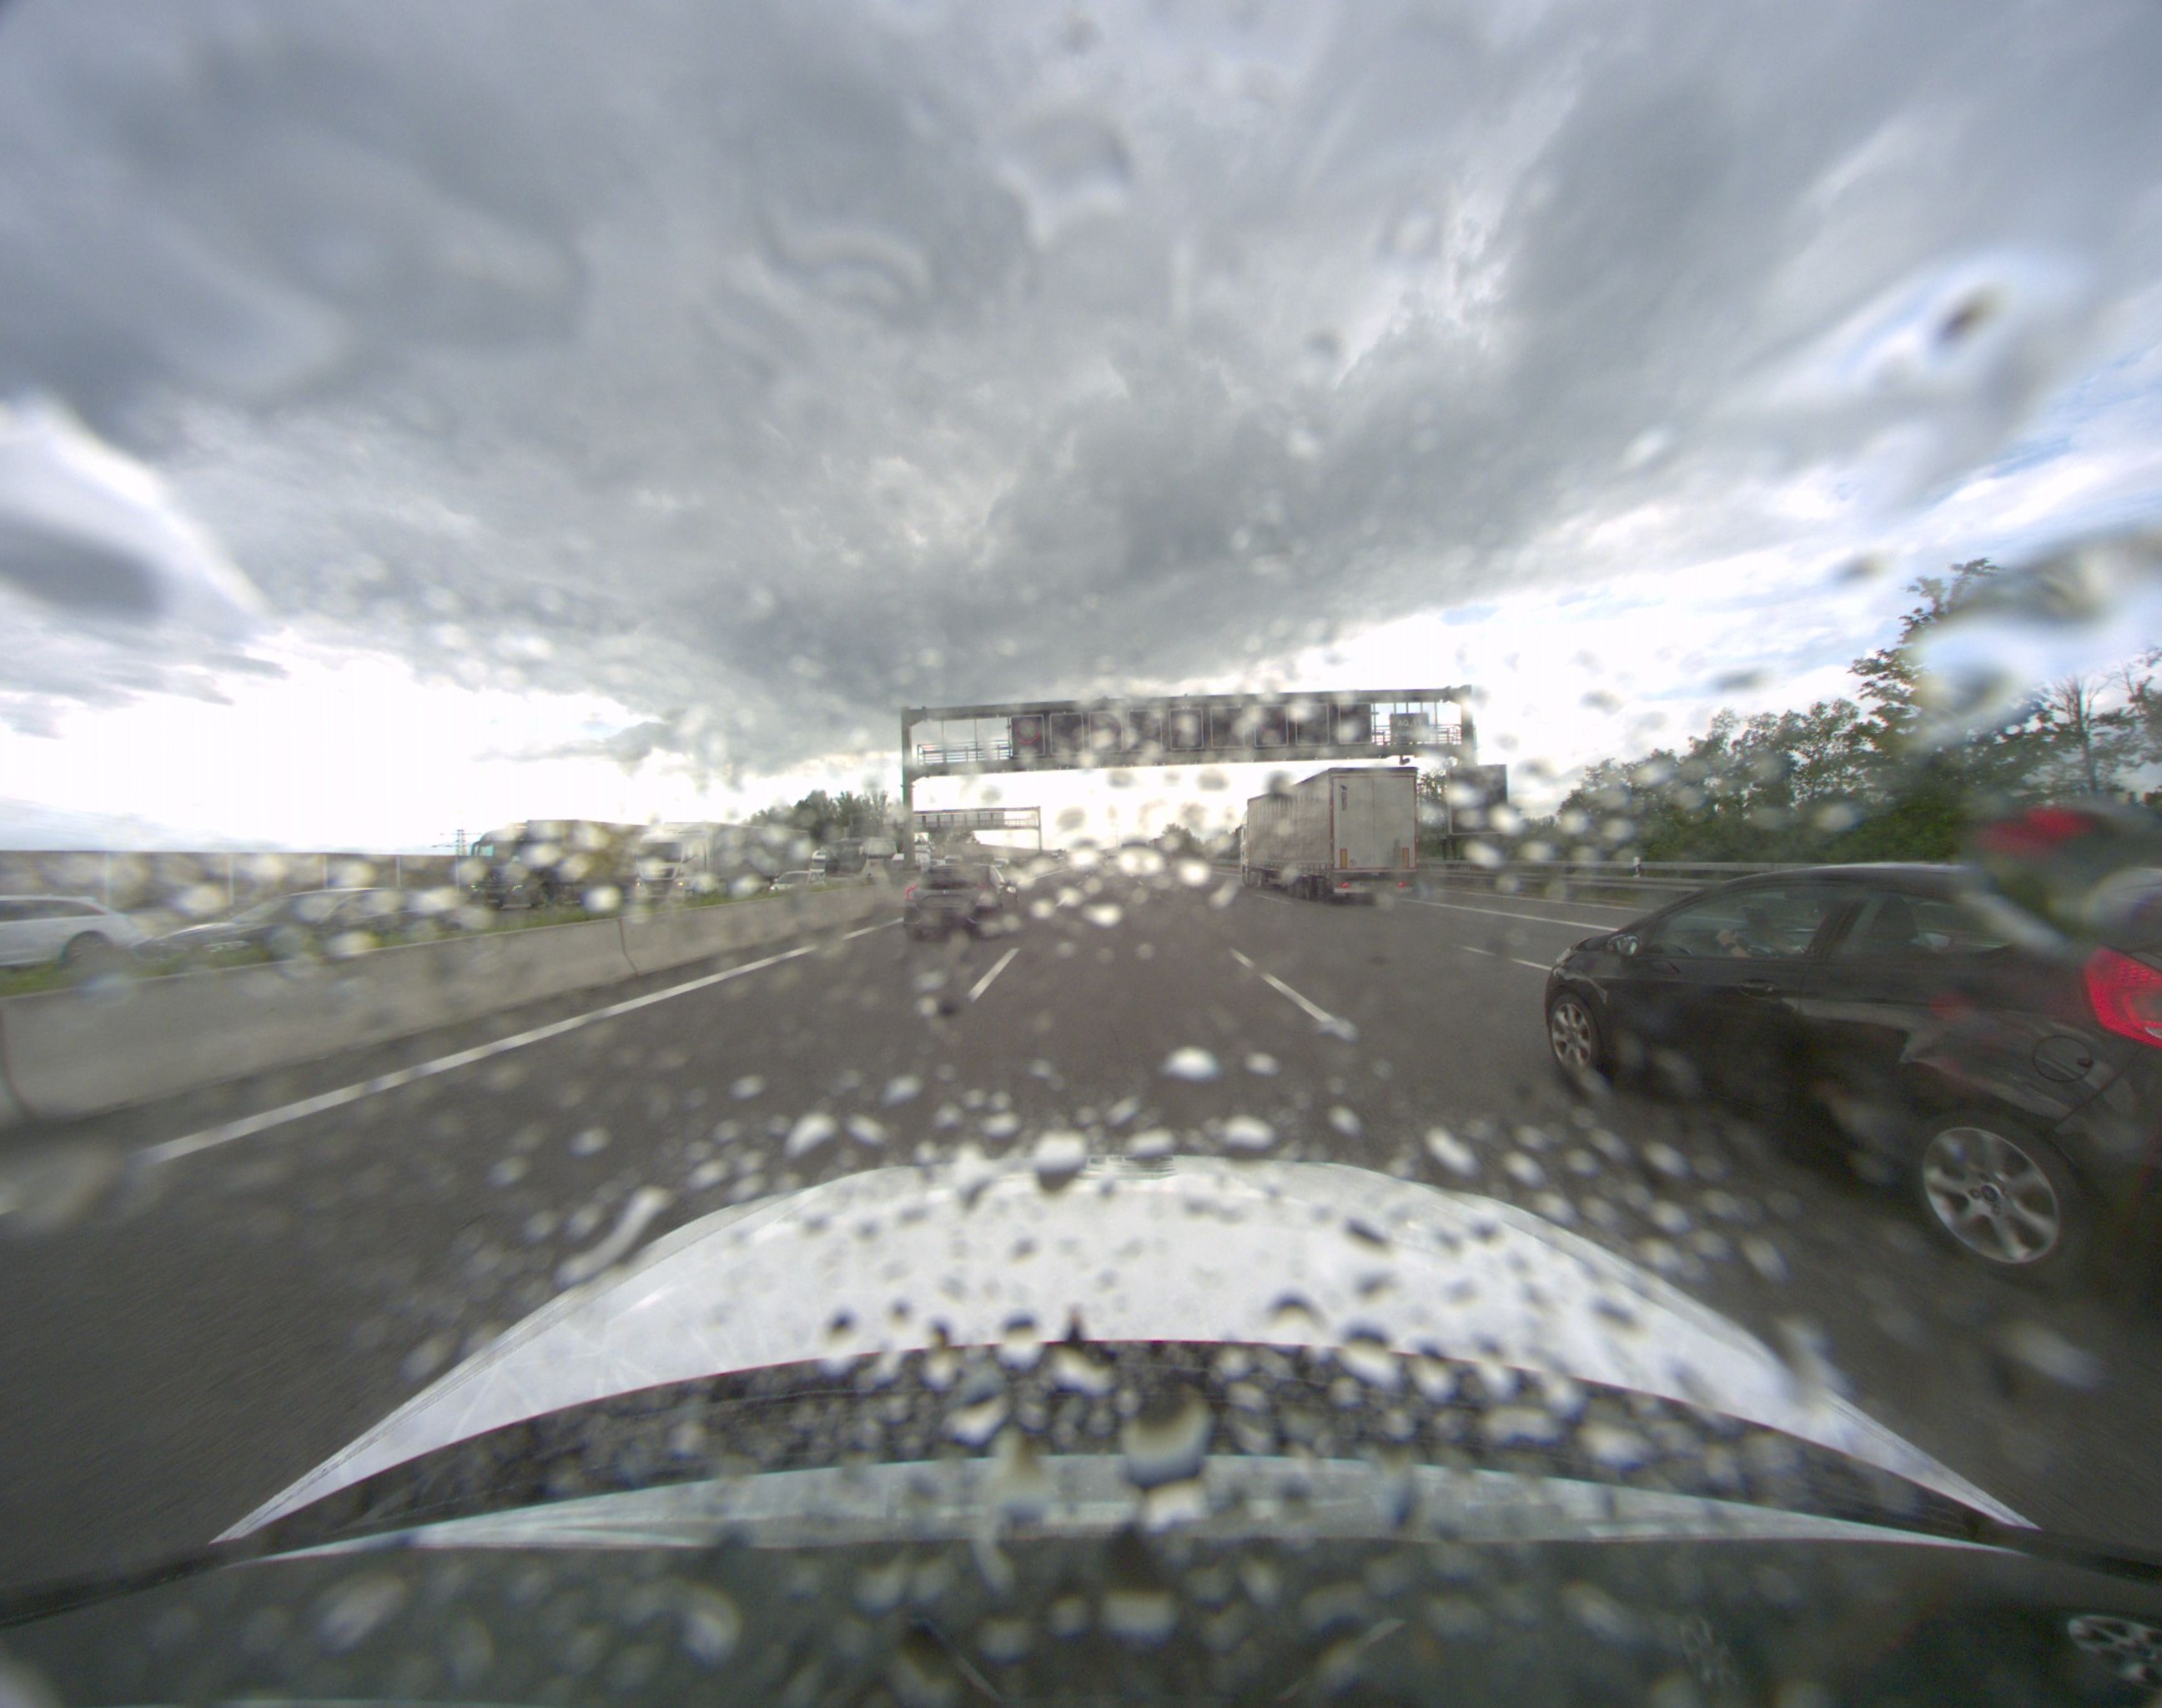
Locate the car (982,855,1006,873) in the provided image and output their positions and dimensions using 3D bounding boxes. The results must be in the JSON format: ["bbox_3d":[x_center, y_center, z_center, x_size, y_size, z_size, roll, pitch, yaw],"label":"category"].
[{"bbox_3d":[-11.125,1.284,104.942,2.221,2.237,5.516,-2,-1,2],"label":"car"}]

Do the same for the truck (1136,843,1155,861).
[{"bbox_3d":[15.819,-0.425,200.862,4.228,4.176,11.993,0,0,2],"label":"truck"}]

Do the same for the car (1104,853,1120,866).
[{"bbox_3d":[3.756,0.639,98.172,1.767,1.441,4.054,-1,0,0],"label":"car"}]

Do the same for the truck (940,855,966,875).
[{"bbox_3d":[-17.592,1.546,112.408,2.235,2.604,6.563,-2,-1,2],"label":"truck"}]

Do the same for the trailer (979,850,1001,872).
[{"bbox_3d":[-13.790,1.082,123.870,2.439,3.138,6.054,-2,0,2],"label":"trailer"}]

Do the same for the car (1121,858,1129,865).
[{"bbox_3d":[10.375,1.803,193.011,1.829,1.441,4.056,-1,0,1],"label":"car"}]

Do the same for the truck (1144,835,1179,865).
[{"bbox_3d":[11.815,-0.552,120.768,4.165,4.288,12.614,0,0,1],"label":"truck"}]

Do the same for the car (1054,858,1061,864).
[{"bbox_3d":[-7.163,2.165,249.324,1.740,1.525,4.930,-2,0,3],"label":"car"}]

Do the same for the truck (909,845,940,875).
[{"bbox_3d":[-21.511,0.830,112.413,2.742,3.887,6.054,-2,0,2],"label":"truck"}]

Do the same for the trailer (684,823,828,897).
[{"bbox_3d":[-19.757,0.334,51.067,2.875,3.961,14.304,0,0,2],"label":"trailer"}]

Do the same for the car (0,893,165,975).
[{"bbox_3d":[-20.643,1.531,15.087,1.781,1.381,4.861,0,0,1],"label":"car"}]

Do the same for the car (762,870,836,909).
[{"bbox_3d":[-12.385,1.540,36.057,1.730,1.539,4.377,0,0,1],"label":"car"}]

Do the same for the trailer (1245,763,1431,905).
[{"bbox_3d":[8.774,-0.596,30.397,2.950,4.020,14.125,-1,0,2],"label":"trailer"}]

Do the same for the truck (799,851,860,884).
[{"bbox_3d":[-22.710,1.181,74.026,2.680,2.814,7.839,-2,-1,2],"label":"truck"}]

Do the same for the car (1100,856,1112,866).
[{"bbox_3d":[3.911,1.083,126.847,1.767,1.441,4.054,-1,0,0],"label":"car"}]

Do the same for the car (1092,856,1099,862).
[{"bbox_3d":[3.636,1.349,202.348,1.767,1.441,4.054,-1,0,-1],"label":"car"}]

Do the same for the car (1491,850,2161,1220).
[{"bbox_3d":[3.928,0.719,4.814,1.442,1.441,3.164,-1,0,1],"label":"car"}]

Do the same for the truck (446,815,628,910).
[{"bbox_3d":[-24.989,0.390,38.037,3.017,3.933,7.715,-2,-1,2],"label":"truck"}]

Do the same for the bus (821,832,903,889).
[{"bbox_3d":[-15.762,0.473,59.571,2.643,3.679,10.640,-2,-1,2],"label":"bus"}]

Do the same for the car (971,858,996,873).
[{"bbox_3d":[-14.041,1.583,117.737,2.439,2.051,6.197,-2,0,2],"label":"car"}]

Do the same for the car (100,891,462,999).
[{"bbox_3d":[-13.571,1.453,14.329,1.781,1.381,4.589,0,0,1],"label":"car"}]

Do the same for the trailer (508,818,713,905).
[{"bbox_3d":[-24.709,0.390,44.179,3.017,3.933,12.982,-2,-1,2],"label":"trailer"}]

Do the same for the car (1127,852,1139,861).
[{"bbox_3d":[8.564,0.456,134.954,1.829,1.441,4.056,-1,0,1],"label":"car"}]

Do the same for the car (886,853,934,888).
[{"bbox_3d":[-12.226,1.124,58.606,2.129,2.351,5.710,0,0,1],"label":"car"}]

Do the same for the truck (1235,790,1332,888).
[{"bbox_3d":[9.022,-0.615,37.012,2.950,4.020,6.592,-1,0,2],"label":"truck"}]

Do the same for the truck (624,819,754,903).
[{"bbox_3d":[-20.041,0.317,42.241,2.875,3.961,7.539,0,0,2],"label":"truck"}]

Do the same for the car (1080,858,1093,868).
[{"bbox_3d":[0.822,1.331,121.622,1.767,1.441,3.873,-1,0,0],"label":"car"}]

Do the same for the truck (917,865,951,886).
[{"bbox_3d":[-14.865,2.139,82.529,2.235,2.000,5.546,-2,-1,1],"label":"truck"}]

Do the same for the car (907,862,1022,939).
[{"bbox_3d":[-2.369,0.897,17.814,1.755,1.369,5.059,-1,0,0],"label":"car"}]
